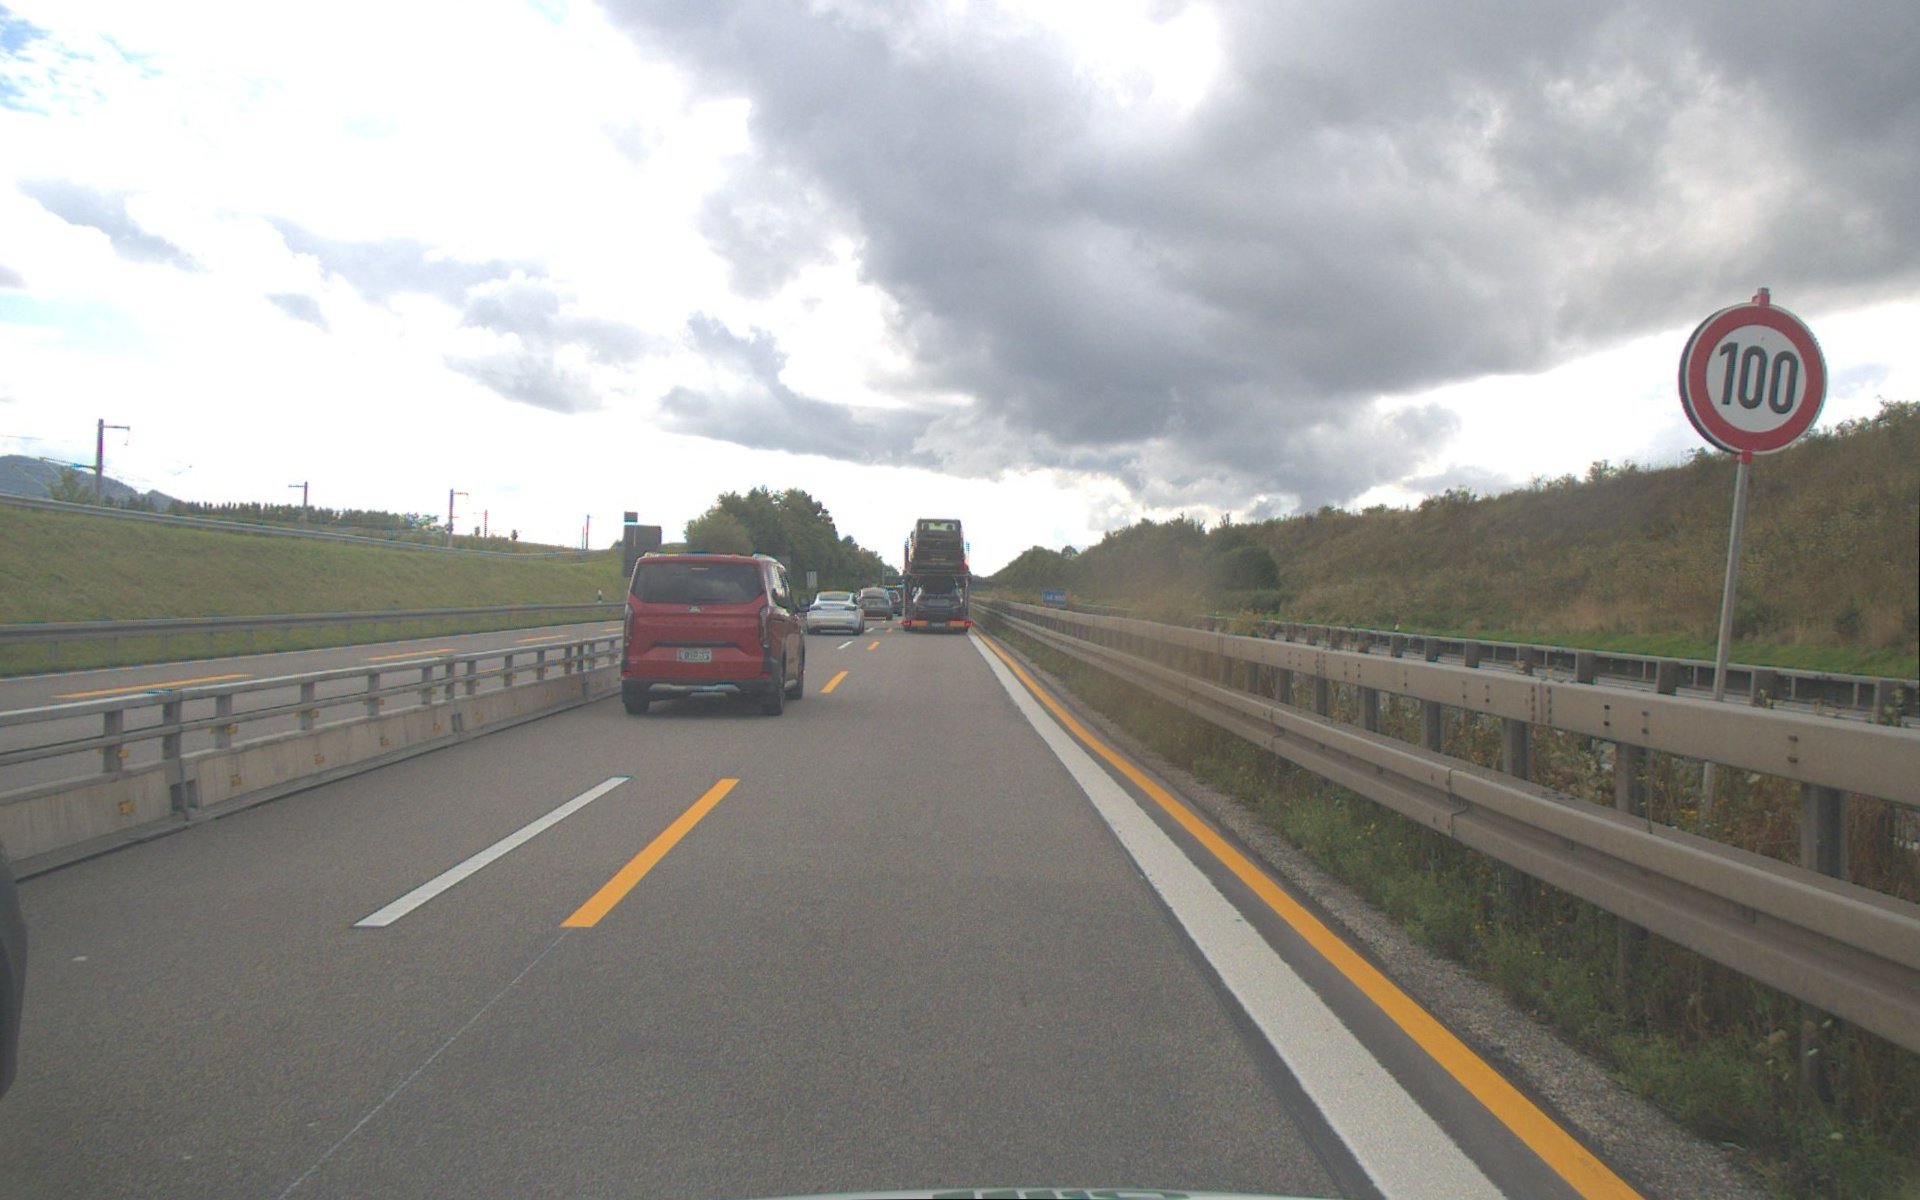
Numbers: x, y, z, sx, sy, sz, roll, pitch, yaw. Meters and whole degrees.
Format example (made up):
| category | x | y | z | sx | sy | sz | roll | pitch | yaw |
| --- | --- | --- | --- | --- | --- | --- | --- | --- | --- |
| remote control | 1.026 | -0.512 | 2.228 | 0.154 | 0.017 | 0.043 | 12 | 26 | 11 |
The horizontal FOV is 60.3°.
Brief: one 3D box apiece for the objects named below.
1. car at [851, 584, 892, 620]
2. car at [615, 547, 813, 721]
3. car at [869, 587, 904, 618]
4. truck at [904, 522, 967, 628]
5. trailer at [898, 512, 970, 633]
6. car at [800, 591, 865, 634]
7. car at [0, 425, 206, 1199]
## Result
| category | x | y | z | sx | sy | sz | roll | pitch | yaw |
| --- | --- | --- | --- | --- | --- | --- | --- | --- | --- |
| car | -4.539 | 0.090 | 85.465 | 1.990 | 1.788 | 4.576 | 0 | 0 | -2 |
| car | -3.101 | 0.390 | 21.770 | 1.990 | 2.049 | 4.577 | 0 | 0 | -1 |
| car | -4.343 | 0.122 | 98.514 | 1.990 | 1.788 | 4.576 | 0 | 0 | -2 |
| truck | -0.975 | -1.000 | 68.447 | 2.464 | 4.177 | 5.684 | 1 | 0 | 0 |
| trailer | -0.944 | -0.984 | 63.499 | 2.464 | 4.177 | 11.112 | 1 | 0 | 0 |
| car | -4.377 | 0.404 | 57.382 | 1.990 | 1.456 | 4.576 | 0 | 0 | -2 |
| car | -3.097 | 0.555 | 1.919 | 1.953 | 1.875 | 5.608 | 0 | 0 | -1 |
